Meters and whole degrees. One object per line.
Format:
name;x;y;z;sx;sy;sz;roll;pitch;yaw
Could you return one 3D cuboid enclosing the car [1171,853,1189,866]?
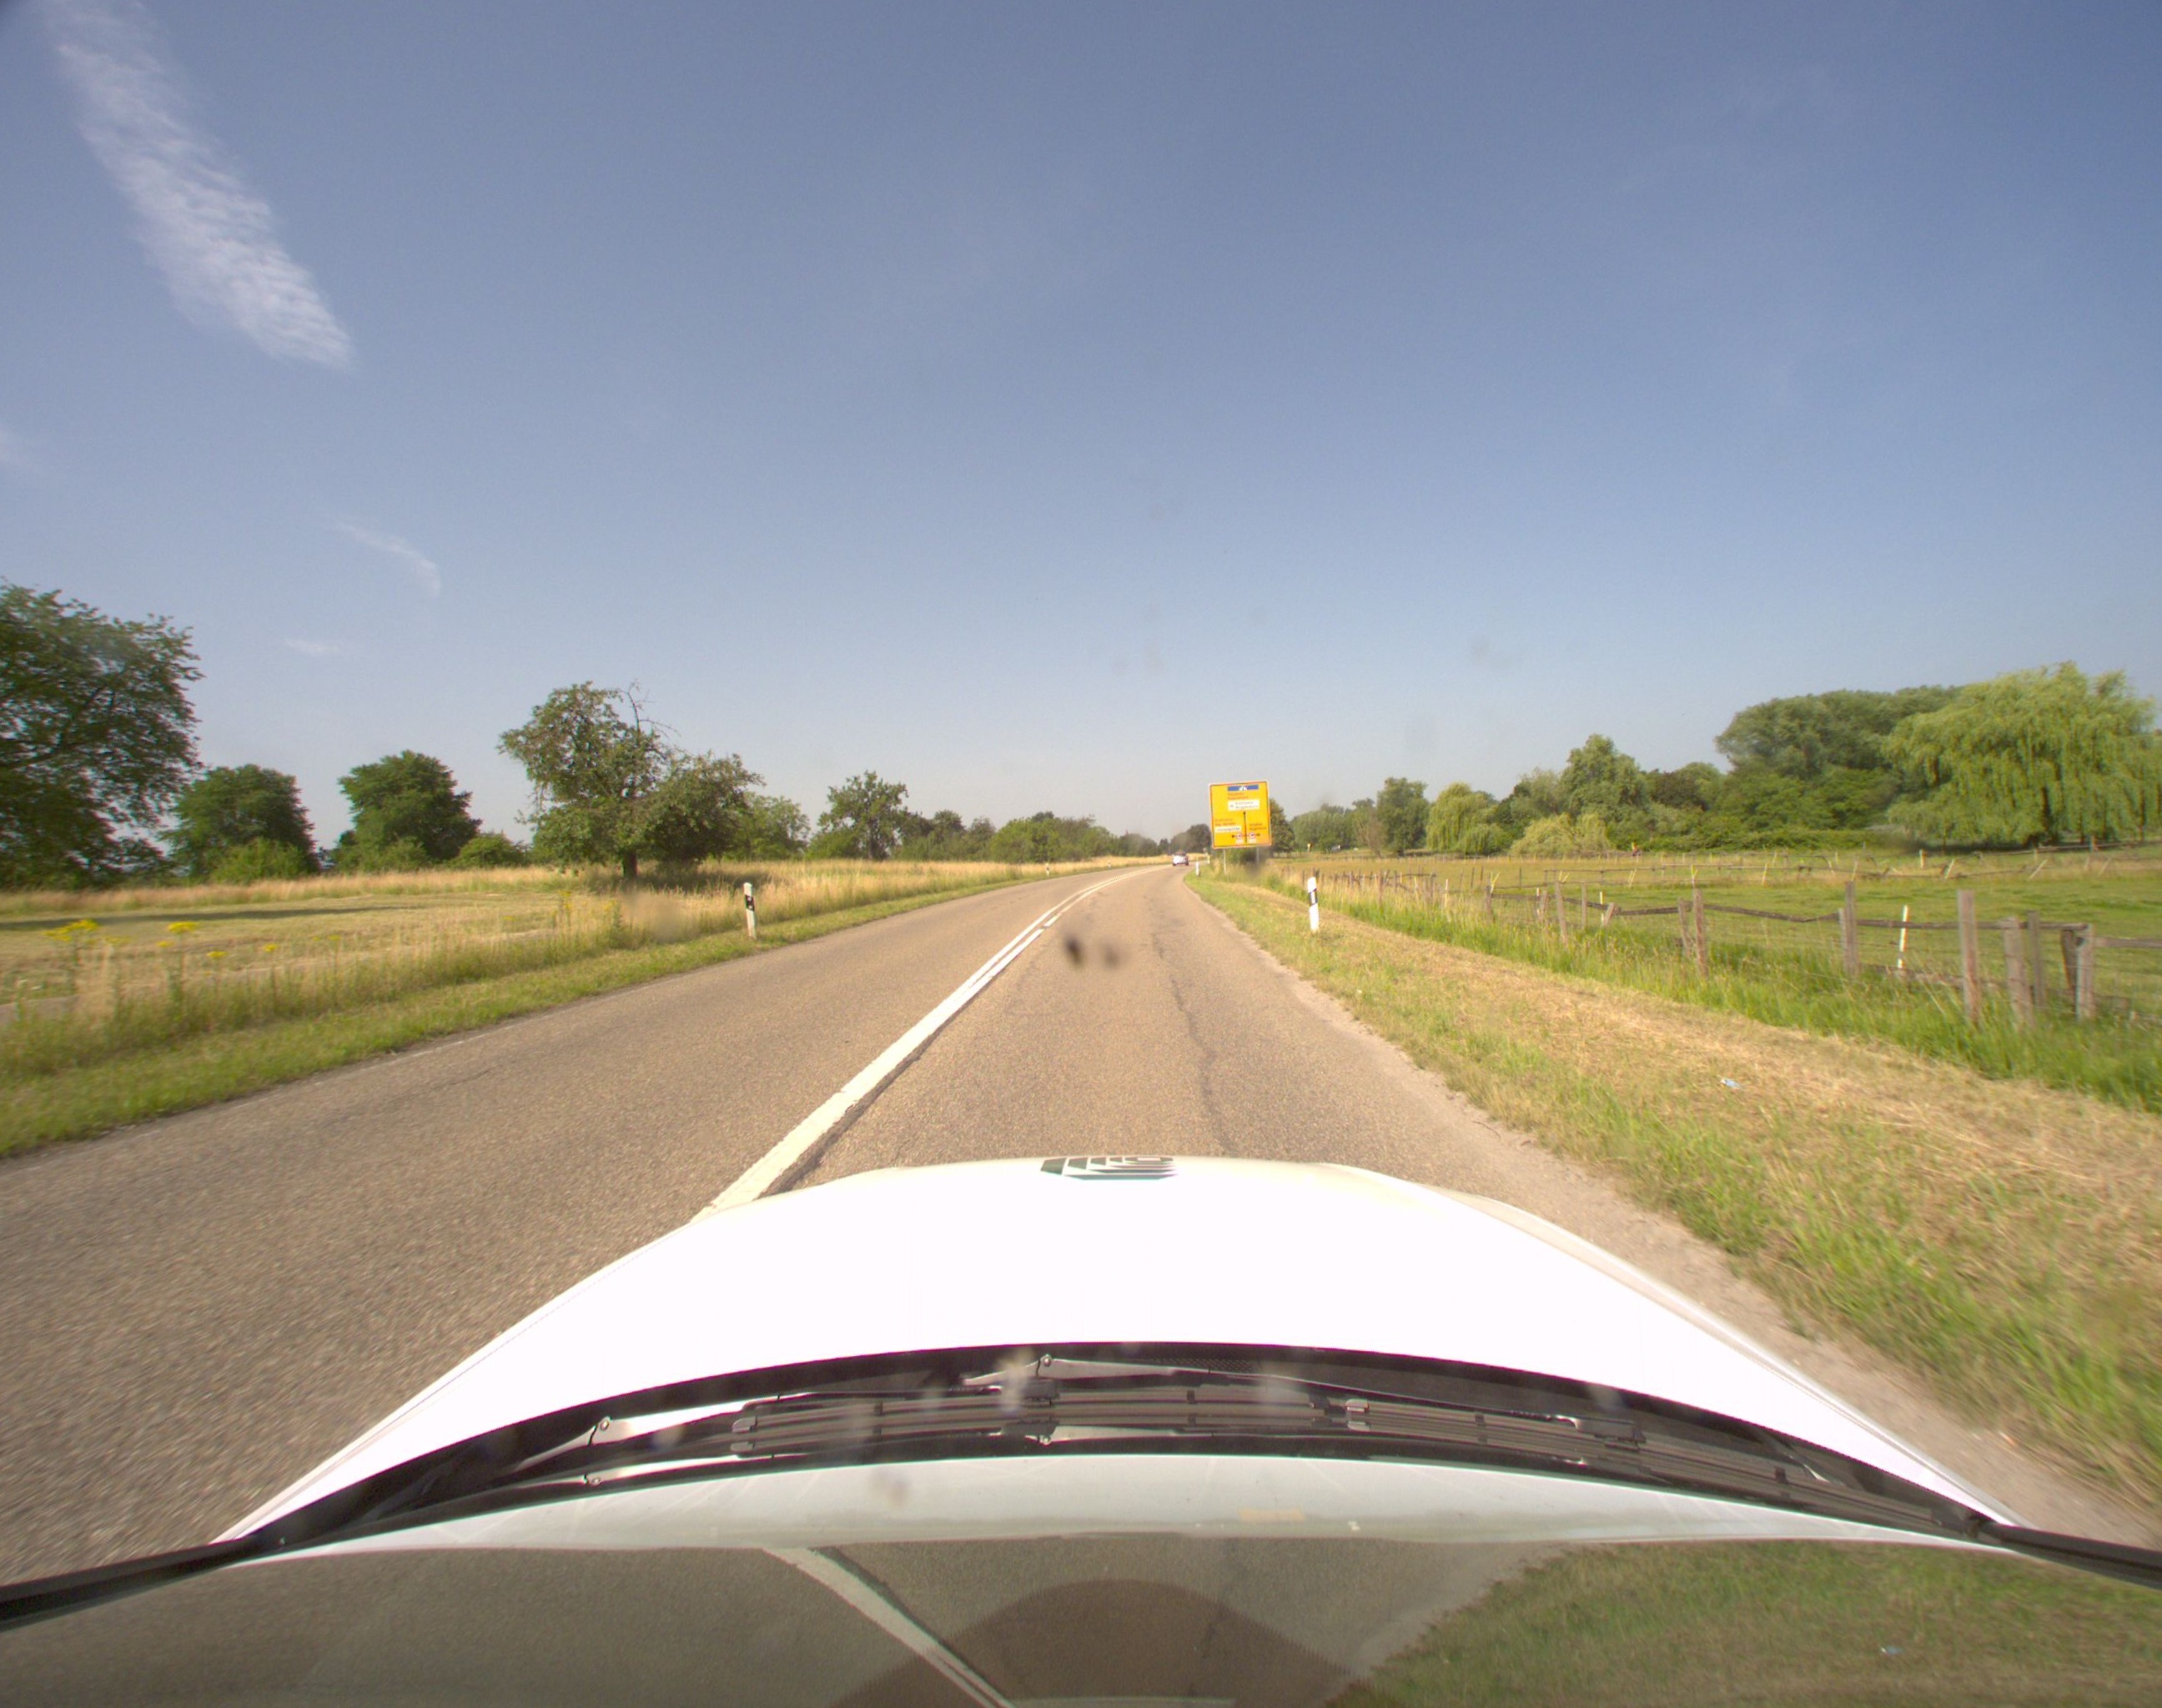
car;12.072;0.637;99.193;1.887;1.512;4.012;-1;0;11
